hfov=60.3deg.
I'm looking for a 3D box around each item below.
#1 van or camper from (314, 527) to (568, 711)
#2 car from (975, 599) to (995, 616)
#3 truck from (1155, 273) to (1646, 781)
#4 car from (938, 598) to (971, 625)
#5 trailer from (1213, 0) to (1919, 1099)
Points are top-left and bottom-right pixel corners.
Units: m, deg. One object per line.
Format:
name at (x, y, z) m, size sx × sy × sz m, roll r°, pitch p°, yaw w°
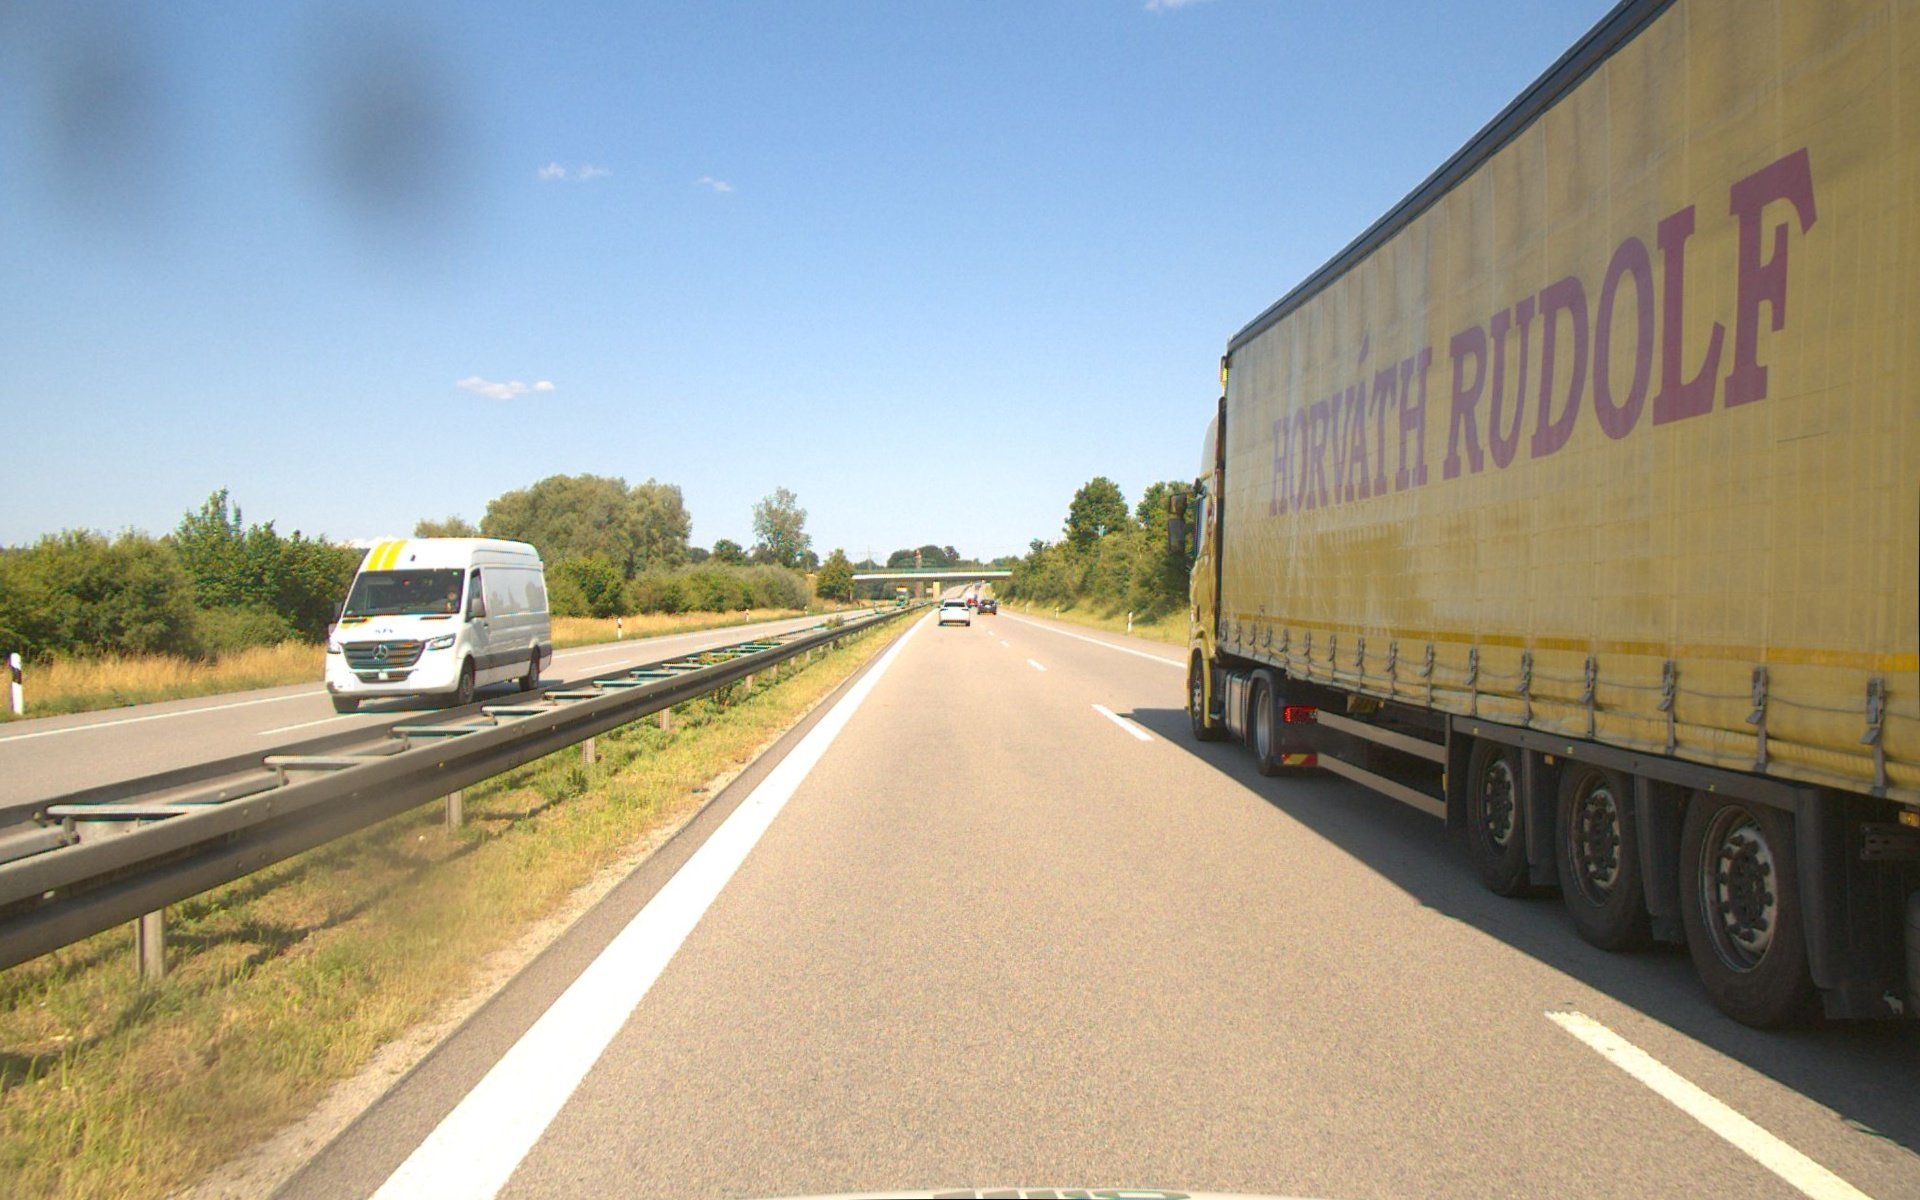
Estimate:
van or camper at (-8.259, 0.285, 27.202) m, size 1.953 × 2.540 × 7.226 m, roll -2°, pitch 0°, yaw -1°
car at (2.435, 0.727, 161.218) m, size 1.805 × 1.546 × 3.999 m, roll 1°, pitch 0°, yaw 0°
truck at (4.084, -0.590, 17.061) m, size 3.105 × 4.186 × 6.385 m, roll 1°, pitch 0°, yaw -2°
car at (-0.322, 0.649, 92.728) m, size 1.805 × 1.440 × 3.999 m, roll 1°, pitch 0°, yaw 0°
trailer at (4.188, -0.619, 9.681) m, size 3.120 × 4.130 × 13.183 m, roll 1°, pitch 0°, yaw -1°
